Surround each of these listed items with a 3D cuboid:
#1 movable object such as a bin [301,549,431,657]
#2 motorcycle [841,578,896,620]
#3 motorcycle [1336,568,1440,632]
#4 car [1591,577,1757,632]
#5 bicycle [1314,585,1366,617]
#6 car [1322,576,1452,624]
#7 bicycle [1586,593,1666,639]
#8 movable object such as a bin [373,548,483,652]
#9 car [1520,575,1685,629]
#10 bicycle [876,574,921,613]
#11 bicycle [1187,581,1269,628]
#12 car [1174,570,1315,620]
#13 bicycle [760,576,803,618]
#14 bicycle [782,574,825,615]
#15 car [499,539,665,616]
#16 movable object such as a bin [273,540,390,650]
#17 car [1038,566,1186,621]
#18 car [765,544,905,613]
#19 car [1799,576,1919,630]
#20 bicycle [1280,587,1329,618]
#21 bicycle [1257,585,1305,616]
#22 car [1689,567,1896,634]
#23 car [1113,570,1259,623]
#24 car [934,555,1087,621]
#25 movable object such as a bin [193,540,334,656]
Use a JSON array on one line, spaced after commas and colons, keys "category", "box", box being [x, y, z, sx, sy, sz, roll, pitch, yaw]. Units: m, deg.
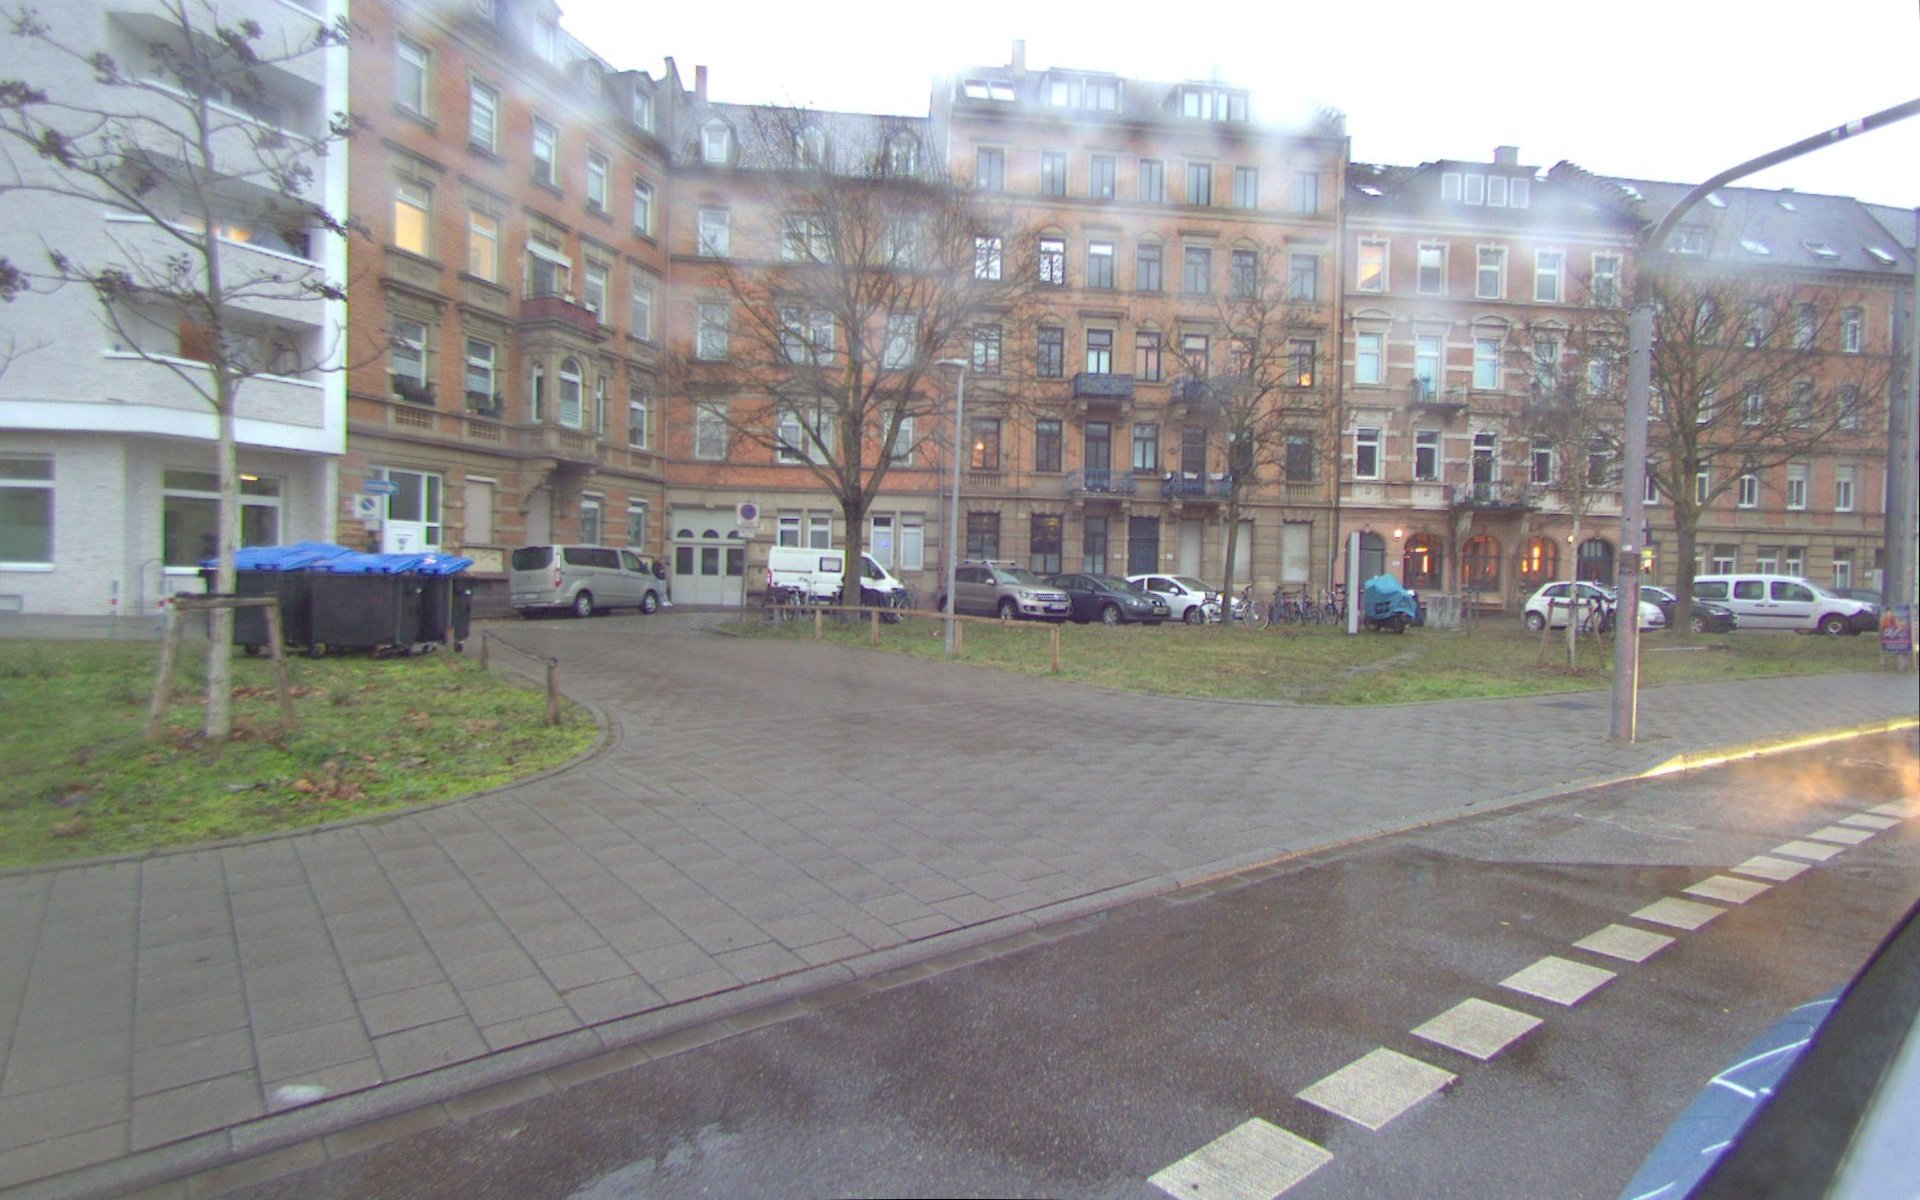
[{"category": "movable object such as a bin", "box": [-8.317, 0.029, 14.222, 1.201, 1.450, 1.053, 1, 1, -1]}, {"category": "motorcycle", "box": [-2.325, -0.036, 25.452, 0.503, 0.942, 1.796, 0, 3, -36]}, {"category": "motorcycle", "box": [10.358, -0.040, 24.604, 0.866, 1.362, 2.364, 0, 4, -22]}, {"category": "car", "box": [20.898, 0.087, 29.737, 1.492, 1.455, 3.688, 0, 1, -36]}, {"category": "bicycle", "box": [11.158, 0.023, 29.772, 0.386, 0.827, 1.800, 1, 3, -16]}, {"category": "car", "box": [12.743, -0.016, 30.332, 1.492, 1.322, 3.301, 0, 1, -36]}, {"category": "bicycle", "box": [15.549, 0.364, 23.695, 0.437, 0.942, 1.799, 1, 3, -8]}, {"category": "movable object such as a bin", "box": [-8.038, -0.008, 15.342, 1.118, 1.504, 1.053, 1, 1, -1]}, {"category": "car", "box": [18.320, 0.009, 28.990, 1.492, 1.417, 3.688, 0, 1, -36]}, {"category": "bicycle", "box": [-1.673, -0.183, 27.394, 0.437, 0.942, 1.798, 0, 3, -30]}, {"category": "bicycle", "box": [6.464, 0.095, 24.486, 1.879, 1.031, 0.535, 2, 3, 14]}, {"category": "car", "box": [8.034, -0.171, 28.835, 1.493, 1.322, 3.687, 0, 1, -37]}, {"category": "bicycle", "box": [-4.472, -0.102, 25.307, 0.437, 0.942, 1.798, 0, 3, -30]}, {"category": "bicycle", "box": [-3.984, -0.158, 25.612, 0.437, 0.942, 1.798, 0, 3, -30]}, {"category": "car", "box": [-10.536, -0.635, 28.601, 1.919, 1.966, 4.569, 1, 1, 20]}, {"category": "movable object such as a bin", "box": [-9.548, -0.079, 15.425, 1.118, 1.595, 1.053, 1, 1, -1]}, {"category": "car", "box": [3.925, -0.216, 26.545, 1.710, 1.322, 3.687, 0, 1, -37]}, {"category": "car", "box": [-4.249, -0.724, 34.453, 4.565, 2.216, 2.003, 1, 1, -8]}, {"category": "car", "box": [27.157, 0.081, 29.368, 1.668, 1.463, 3.968, 1, 1, -31]}, {"category": "bicycle", "box": [10.017, 0.048, 29.451, 0.436, 0.787, 1.800, 1, 3, -13]}, {"category": "bicycle", "box": [9.339, -0.002, 29.513, 0.436, 0.804, 1.800, 1, 3, -13]}, {"category": "car", "box": [24.142, -0.052, 29.497, 1.748, 1.790, 4.344, 0, 1, -37]}, {"category": "car", "box": [6.060, -0.132, 27.426, 1.638, 1.322, 3.687, 0, 1, -37]}, {"category": "car", "box": [1.226, -0.348, 26.443, 1.710, 1.589, 4.155, 0, 1, -37]}, {"category": "movable object such as a bin", "box": [-9.622, -0.040, 14.039, 1.229, 1.529, 1.053, 1, 1, -1]}]
